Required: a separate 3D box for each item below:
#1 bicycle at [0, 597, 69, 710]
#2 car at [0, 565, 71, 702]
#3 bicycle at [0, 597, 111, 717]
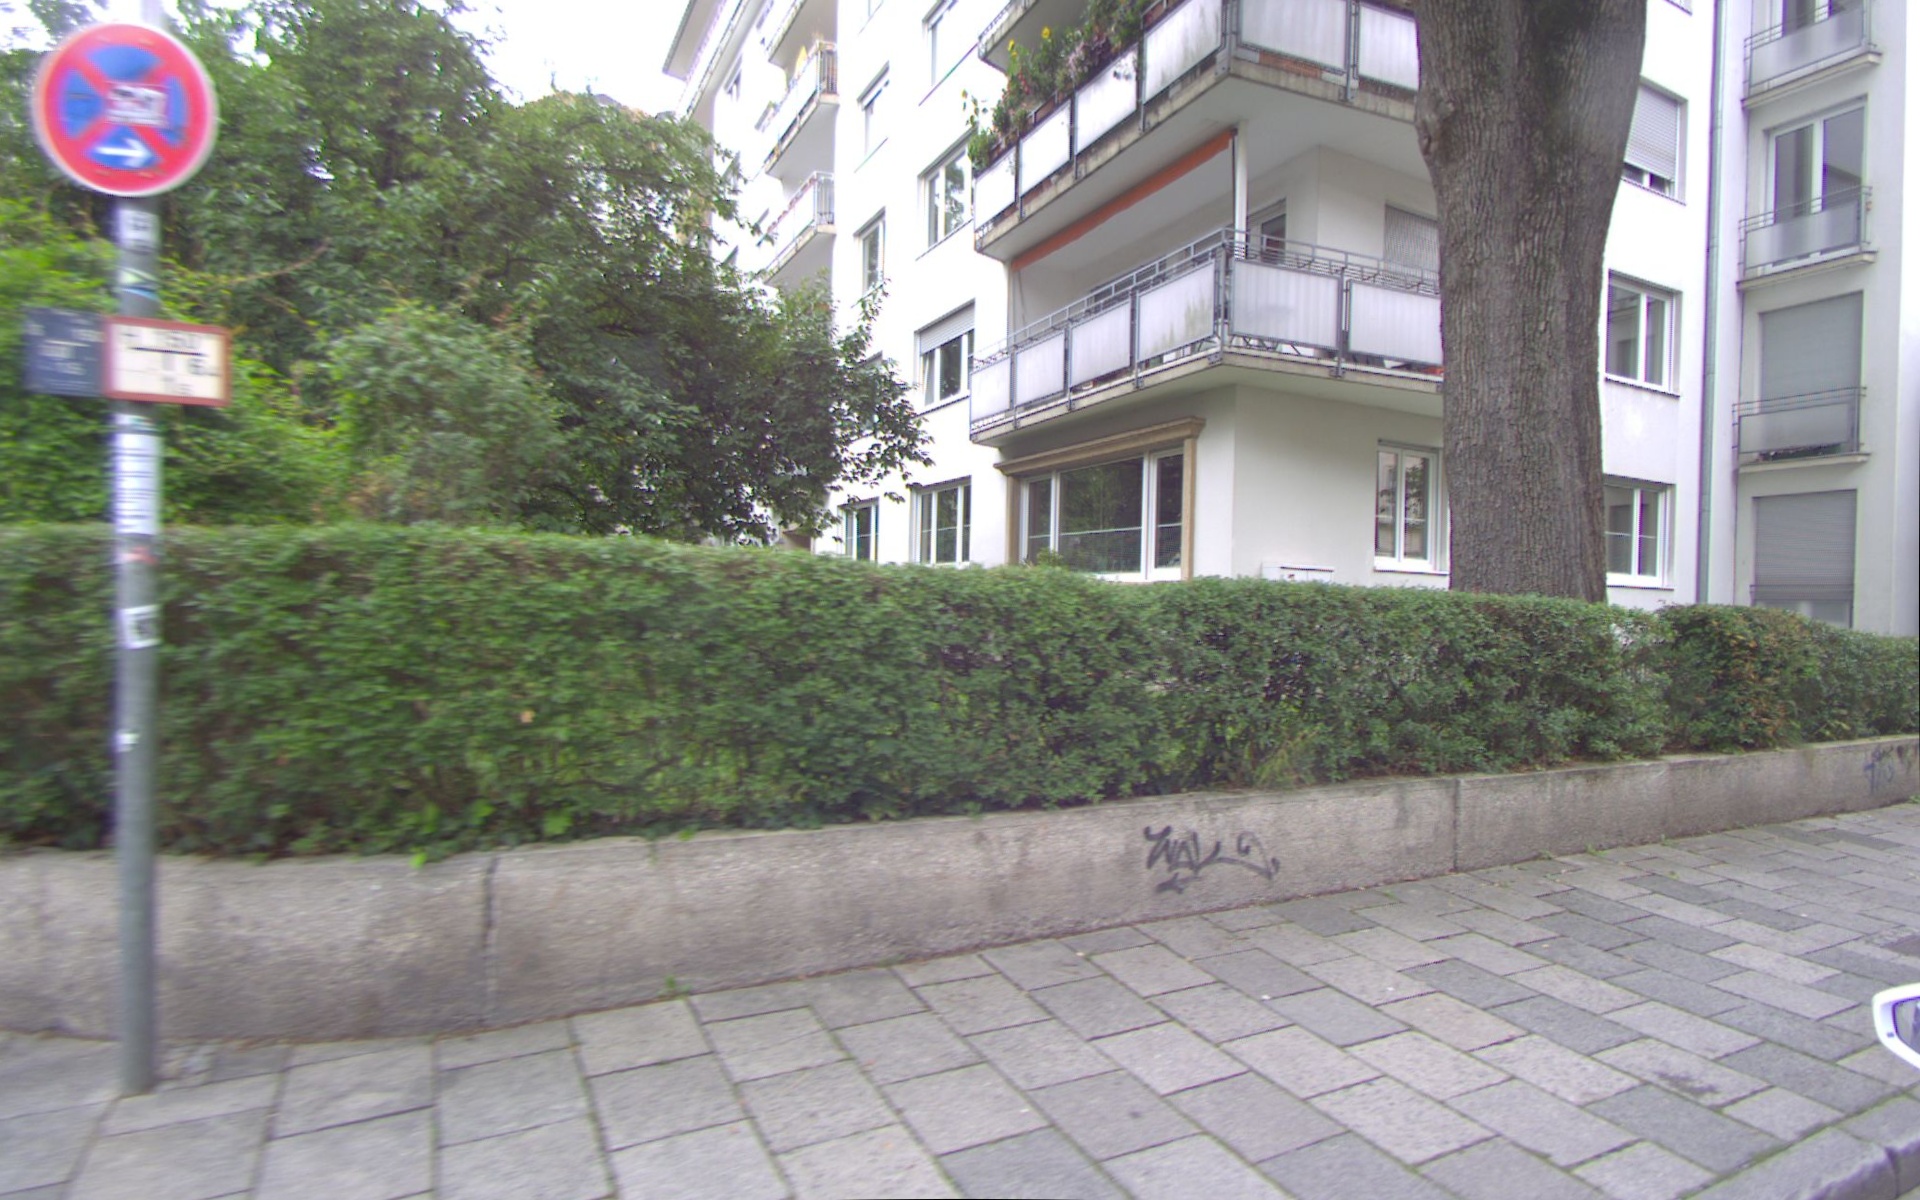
[{"bbox_3d":[-9.475,0.524,9.723,0.341,1.086,1.777,1,0,-8],"label":"bicycle"},{"bbox_3d":[-11.732,0.328,10.952,1.992,1.542,4.261,3,-1,-27],"label":"car"},{"bbox_3d":[-9.141,0.528,9.832,0.341,1.086,1.777,3,0,-8],"label":"bicycle"}]
